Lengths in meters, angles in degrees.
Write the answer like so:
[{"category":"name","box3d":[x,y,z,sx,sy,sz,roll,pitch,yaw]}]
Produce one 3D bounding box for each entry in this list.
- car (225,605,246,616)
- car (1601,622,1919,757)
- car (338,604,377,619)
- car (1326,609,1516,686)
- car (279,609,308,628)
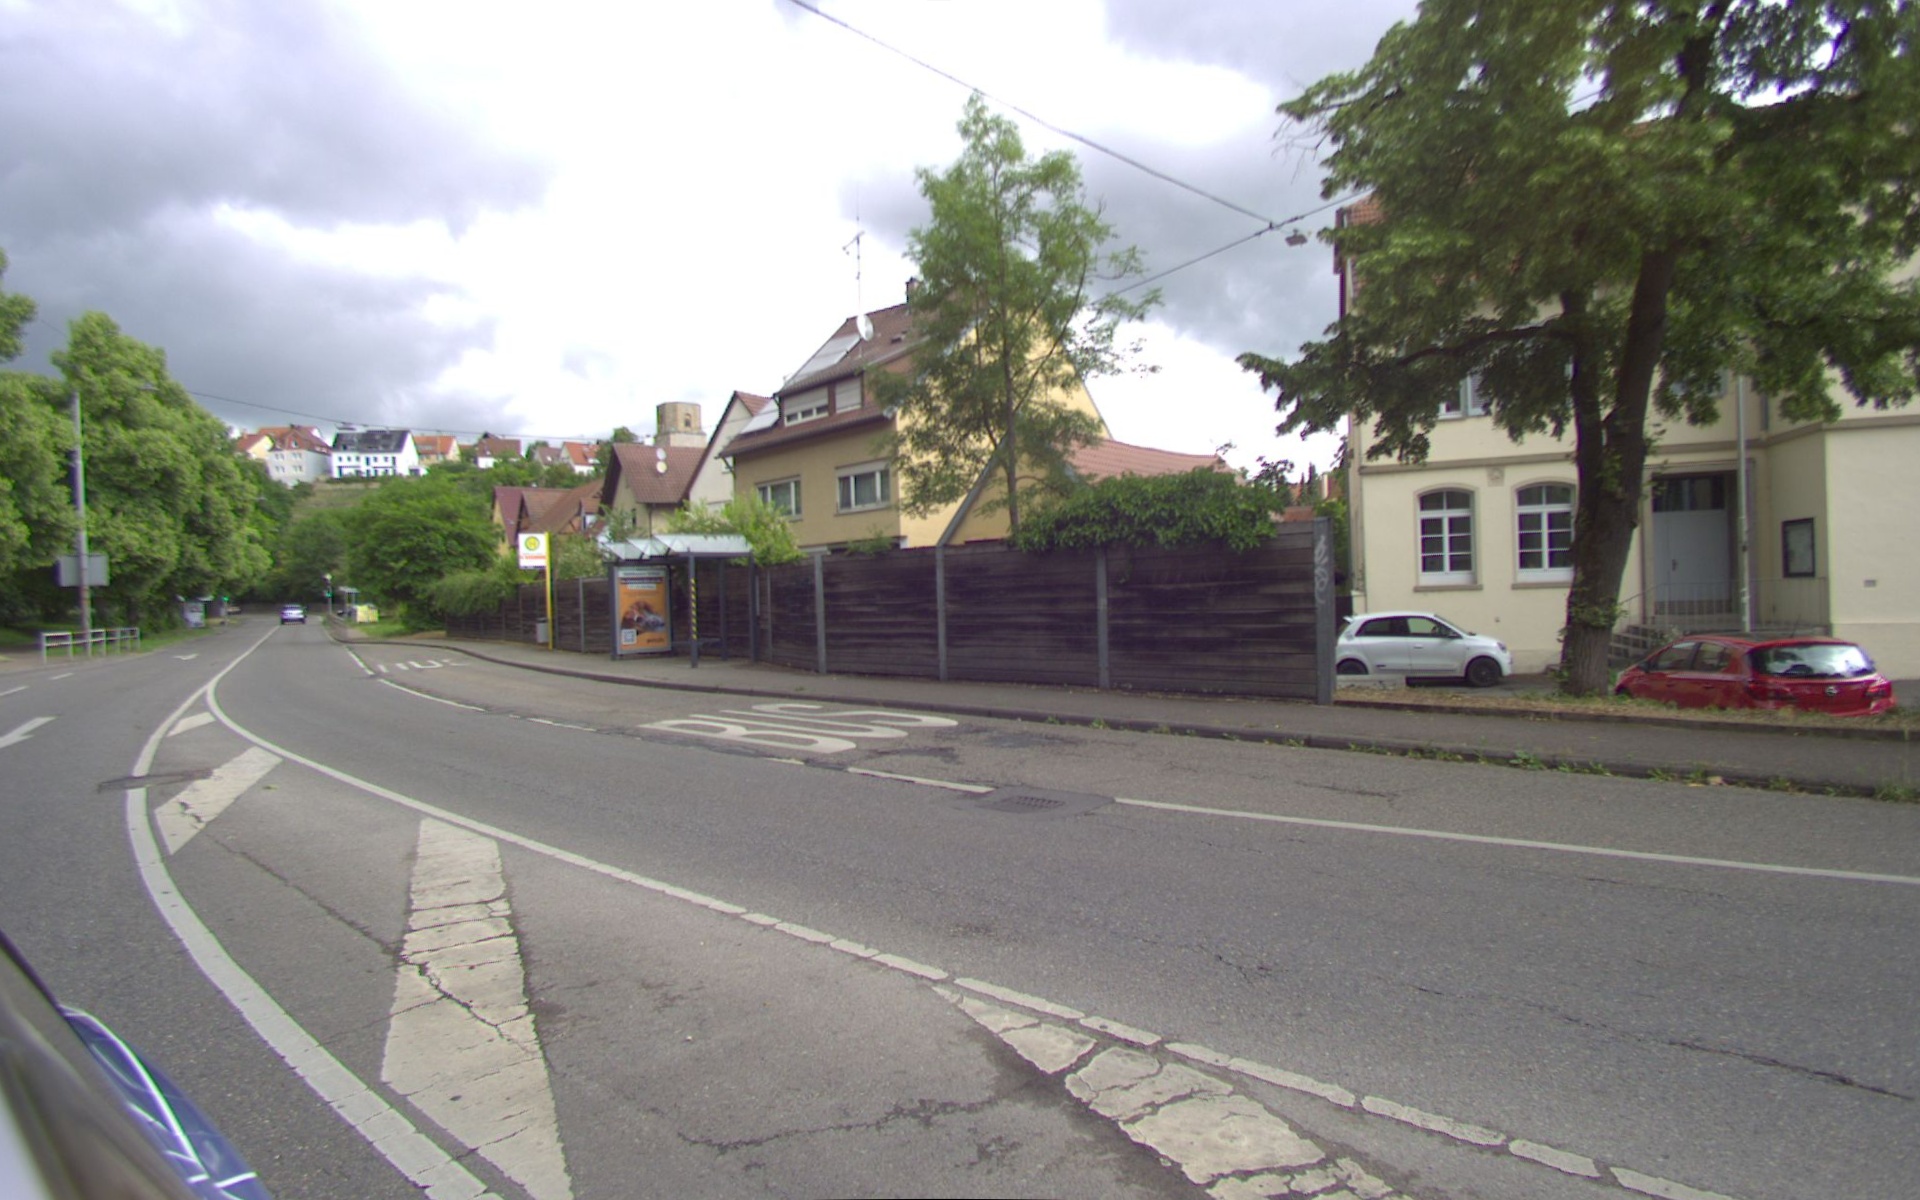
[{"category":"car","box3d":[-103.673,1.526,144.794,1.970,1.586,4.003,-1,0,-44]},{"category":"car","box3d":[10.112,1.041,13.094,1.643,1.393,3.710,-1,0,8]},{"category":"car","box3d":[-67.751,1.308,113.858,3.620,1.596,1.770,-1,0,-29]},{"category":"car","box3d":[9.480,0.961,21.103,3.409,1.490,1.601,-1,0,19]},{"category":"car","box3d":[-61.593,1.687,93.468,1.967,1.630,4.009,-1,0,-37]}]
